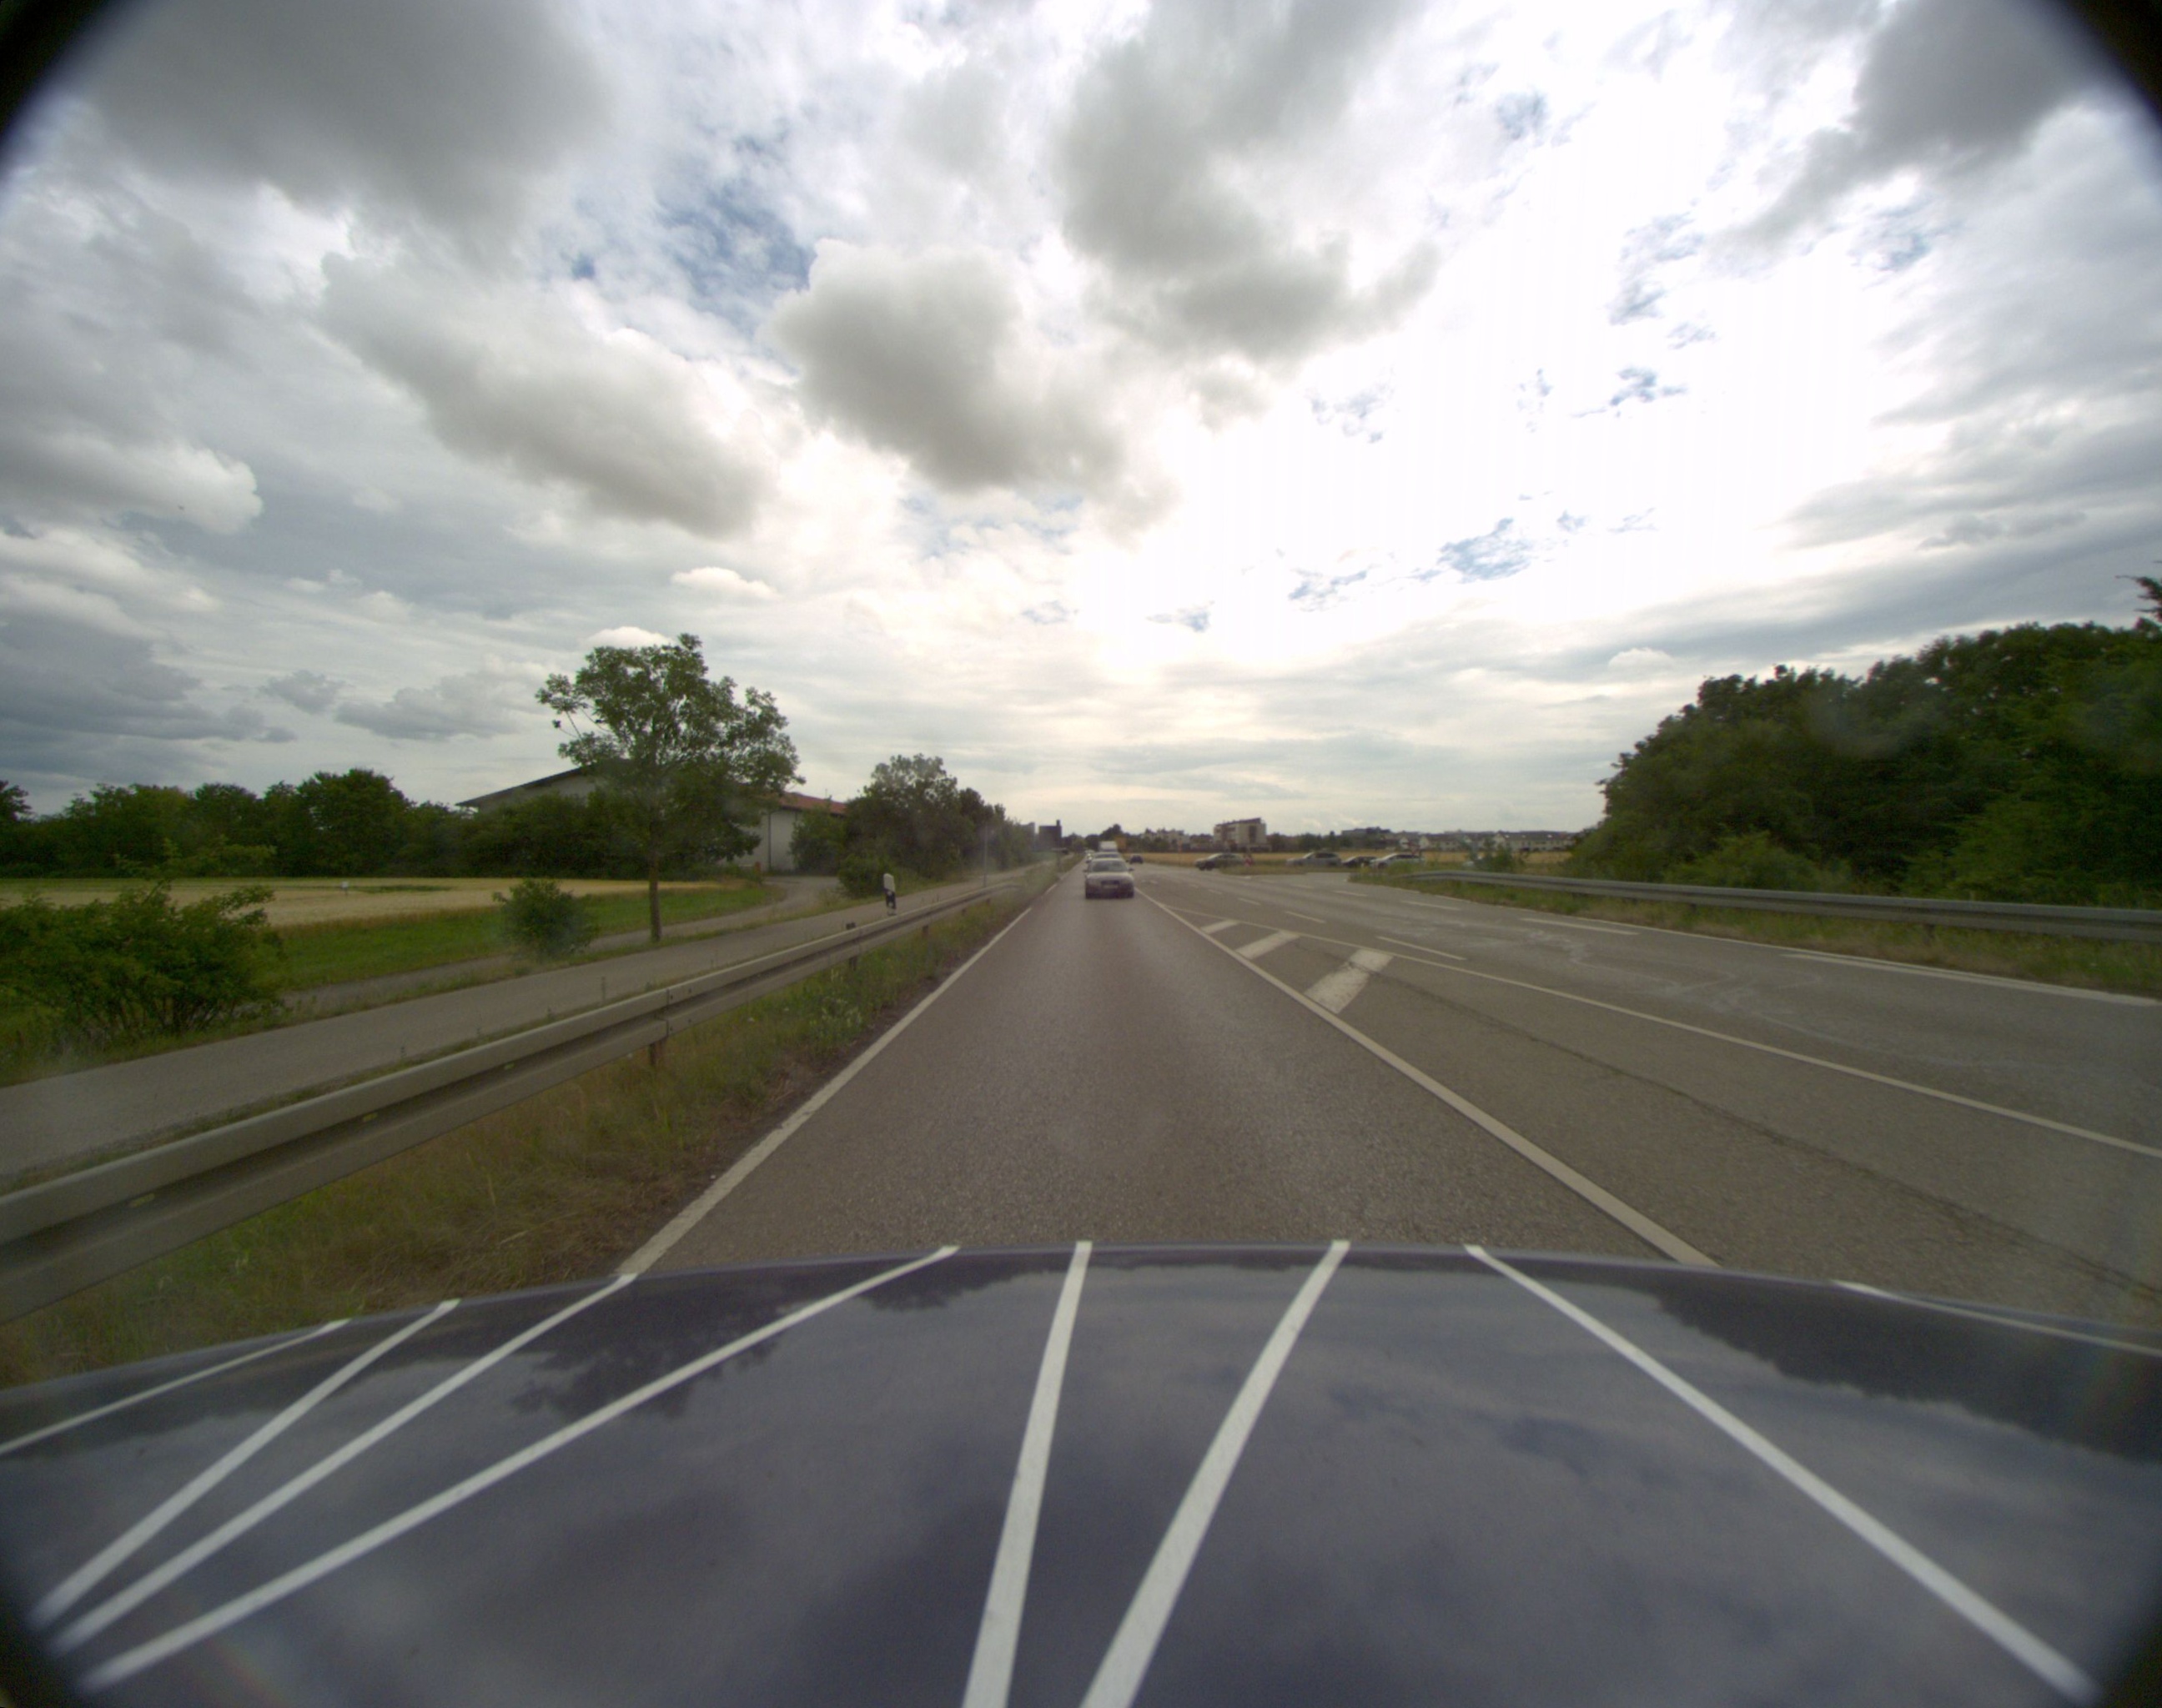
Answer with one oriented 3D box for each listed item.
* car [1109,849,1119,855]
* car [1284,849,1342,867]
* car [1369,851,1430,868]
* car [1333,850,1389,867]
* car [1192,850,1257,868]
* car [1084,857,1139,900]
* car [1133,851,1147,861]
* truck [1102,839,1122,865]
[{"bbox_3d":[8.024,-0.455,182.807,2.170,1.277,4.237,-2,0,0],"label":"car"},{"bbox_3d":[20.272,0.357,66.476,4.632,1.508,1.912,0,1,7],"label":"car"},{"bbox_3d":[27.216,0.463,65.035,4.500,1.474,1.912,0,1,7],"label":"car"},{"bbox_3d":[25.055,0.418,68.126,4.406,1.474,1.912,0,1,7],"label":"car"},{"bbox_3d":[12.541,0.438,66.470,5.304,1.512,1.909,0,1,-13],"label":"car"},{"bbox_3d":[1.081,0.859,28.589,1.909,1.416,4.465,0,1,1],"label":"car"},{"bbox_3d":[8.404,0.317,108.425,1.867,1.368,4.000,-1,1,3],"label":"car"},{"bbox_3d":[4.498,-0.329,112.824,2.813,3.588,11.219,0,1,1],"label":"truck"}]
